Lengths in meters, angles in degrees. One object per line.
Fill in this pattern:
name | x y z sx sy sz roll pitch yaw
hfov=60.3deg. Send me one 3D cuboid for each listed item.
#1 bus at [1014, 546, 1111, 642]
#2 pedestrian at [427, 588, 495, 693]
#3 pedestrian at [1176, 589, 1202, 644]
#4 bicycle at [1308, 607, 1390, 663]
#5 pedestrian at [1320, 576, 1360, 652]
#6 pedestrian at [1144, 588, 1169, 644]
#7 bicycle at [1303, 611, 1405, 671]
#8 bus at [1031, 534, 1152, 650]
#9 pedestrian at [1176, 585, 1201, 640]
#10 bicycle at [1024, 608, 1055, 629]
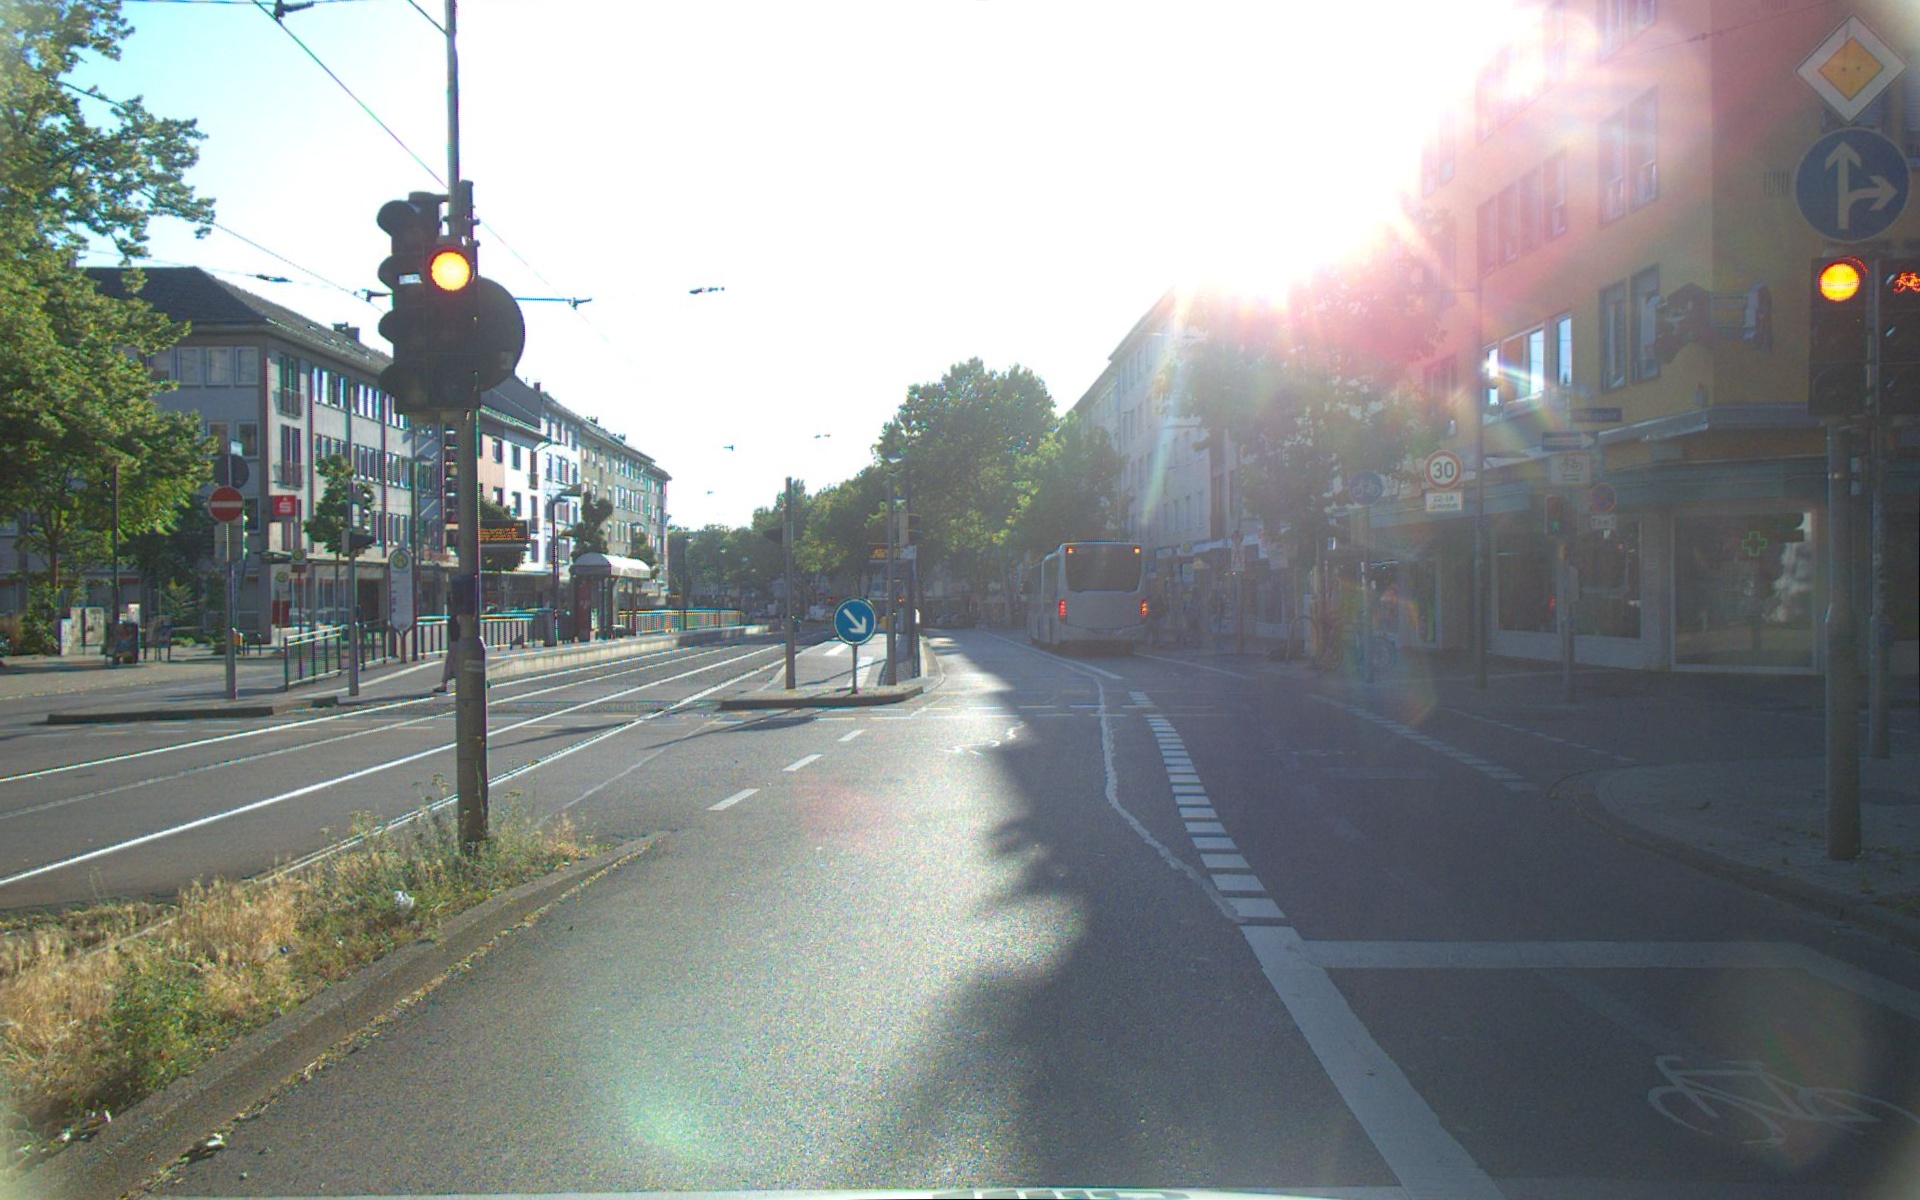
bus | 3.543 -0.183 59.386 2.642 3.173 9.066 0 0 -2
pedestrian | -8.649 0.698 28.717 0.900 1.791 0.832 -1 -1 0
pedestrian | 7.460 0.530 53.952 0.709 1.753 0.766 -1 -1 -2
bicycle | 7.492 0.669 31.872 1.453 1.026 0.454 -1 0 -5
pedestrian | 9.209 0.332 40.094 0.728 1.811 0.894 -1 -1 -2
pedestrian | 6.522 0.520 54.958 0.709 1.838 0.766 -1 -1 -2
bicycle | 7.451 0.765 31.294 1.763 1.026 0.540 -3 0 -5
bus | 3.830 -0.206 50.204 2.642 3.173 9.377 0 0 -2
pedestrian | 7.715 0.423 55.922 0.709 1.810 0.766 -1 -1 -2
bicycle | 4.850 1.134 100.995 1.848 1.096 0.754 -5 0 1
